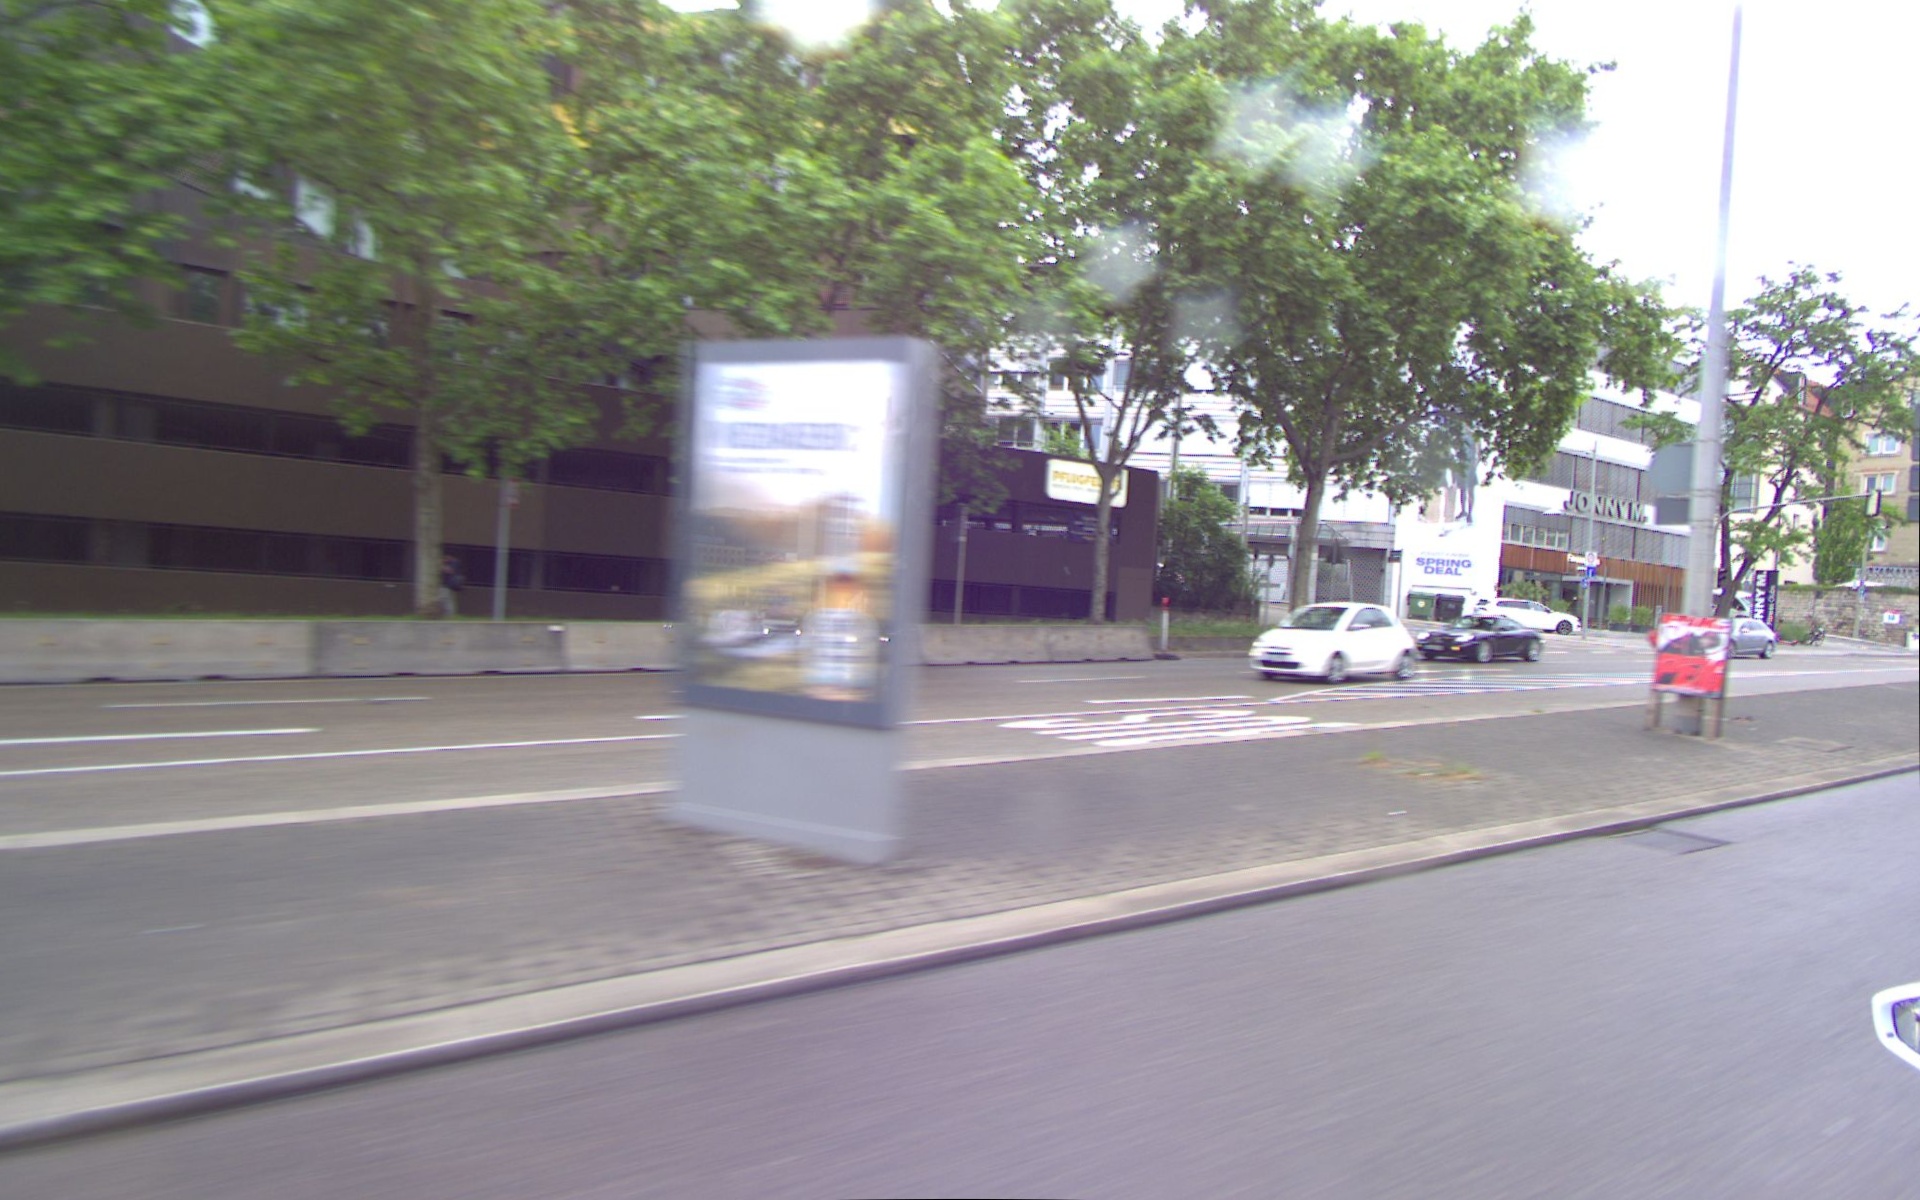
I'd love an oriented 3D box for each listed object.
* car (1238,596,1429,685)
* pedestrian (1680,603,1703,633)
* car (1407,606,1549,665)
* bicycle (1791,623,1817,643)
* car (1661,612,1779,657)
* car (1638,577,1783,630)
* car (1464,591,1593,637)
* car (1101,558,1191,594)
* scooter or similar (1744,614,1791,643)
[{"bbox_3d":[7.288,0.751,19.514,3.706,1.539,1.741,1,0,-37],"label":"car"},{"bbox_3d":[41.481,1.038,56.940,0.832,1.663,0.765,1,0,-30],"label":"pedestrian"},{"bbox_3d":[14.637,0.976,28.334,4.125,1.539,1.744,1,0,-33],"label":"car"},{"bbox_3d":[44.850,1.743,53.389,1.737,1.004,0.454,2,1,-30],"label":"bicycle"},{"bbox_3d":[27.192,1.210,35.902,4.833,1.466,1.980,1,0,-35],"label":"car"},{"bbox_3d":[47.800,0.132,64.200,2.482,2.307,6.872,-1,9,-28],"label":"car"},{"bbox_3d":[26.539,0.613,47.075,4.746,1.676,2.001,5,2,9],"label":"car"},{"bbox_3d":[9.593,-1.246,51.847,4.397,1.485,2.001,5,2,12],"label":"car"},{"bbox_3d":[41.213,1.442,51.272,1.725,1.263,0.369,6,3,32],"label":"scooter or similar"}]
